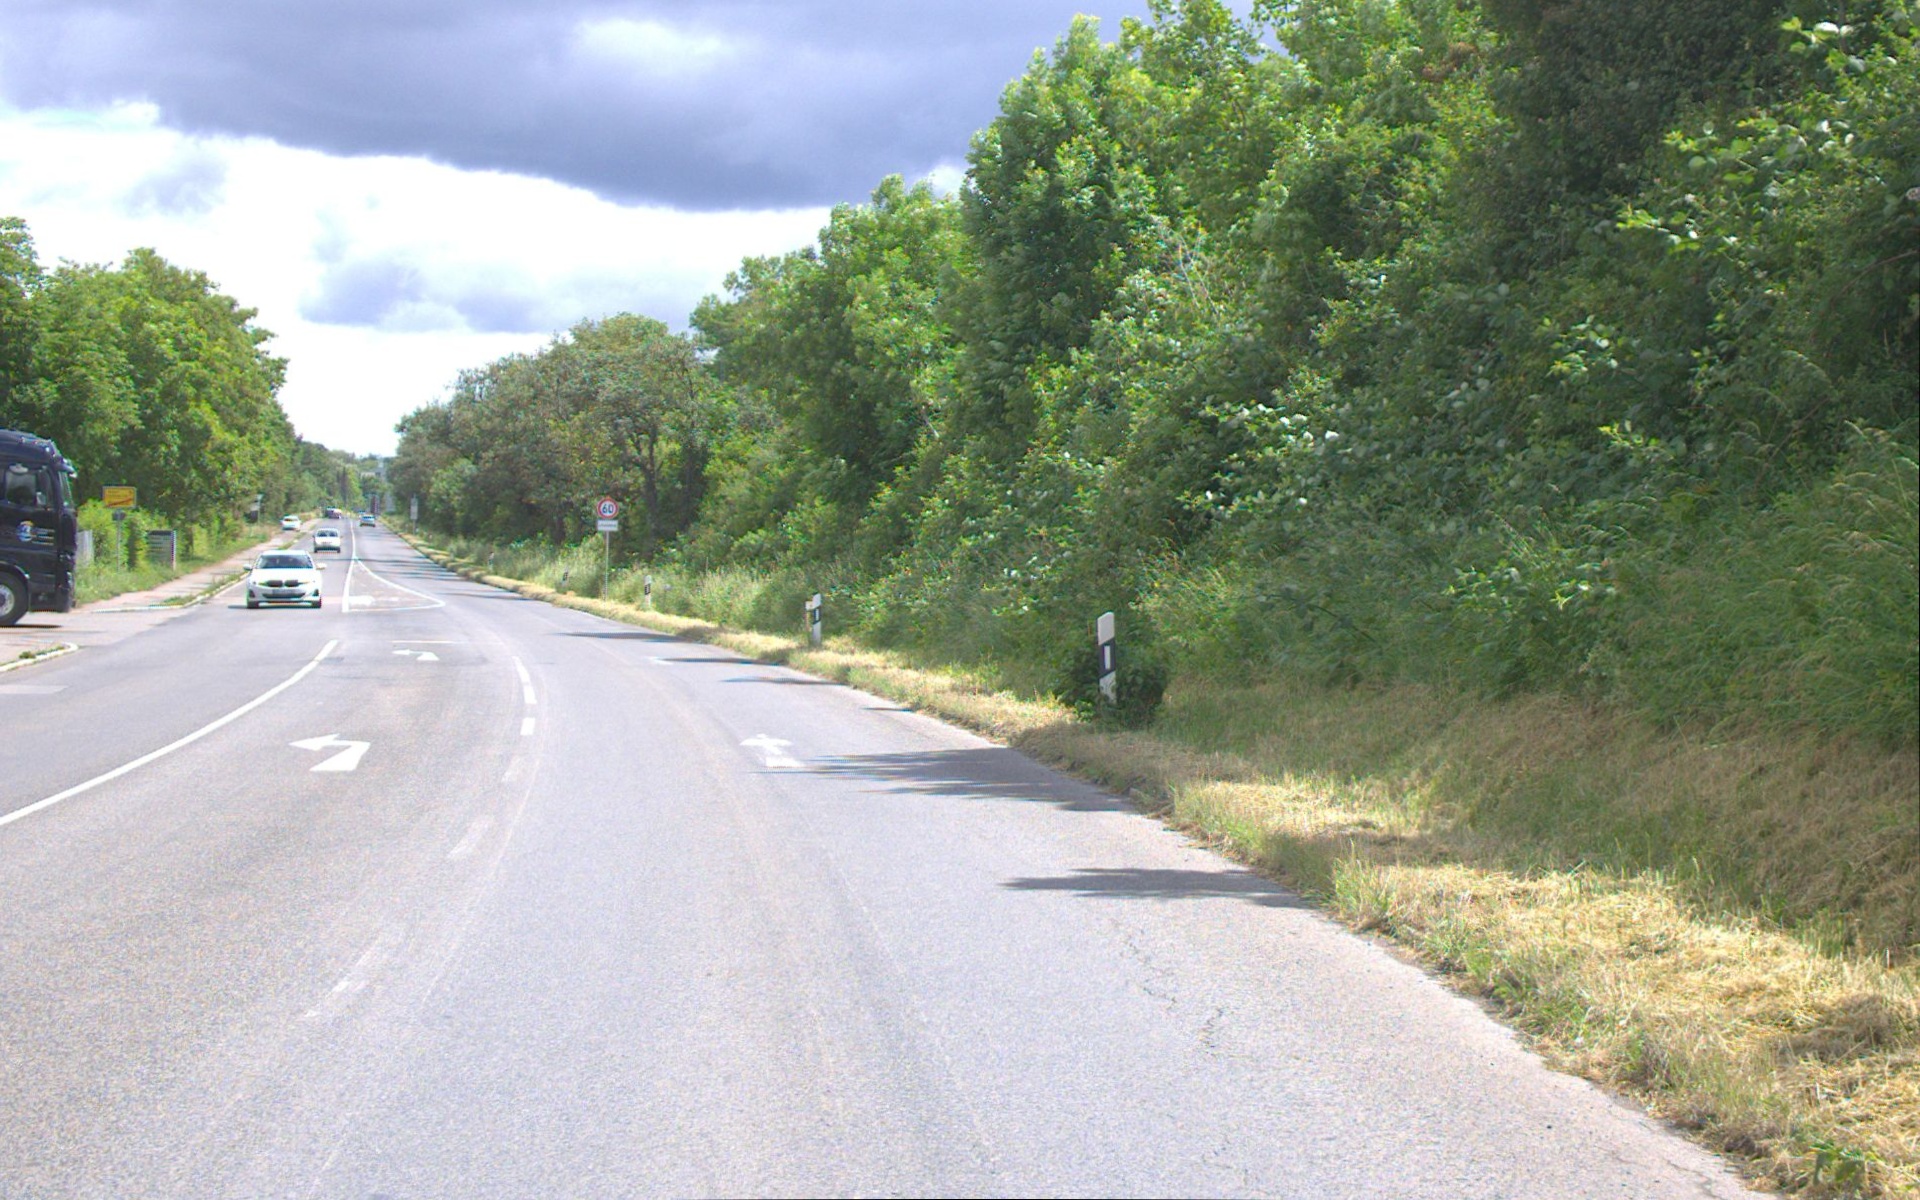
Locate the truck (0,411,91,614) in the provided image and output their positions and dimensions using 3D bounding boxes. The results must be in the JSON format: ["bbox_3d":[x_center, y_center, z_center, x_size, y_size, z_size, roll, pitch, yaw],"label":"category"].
[{"bbox_3d":[-19.571,-1.682,66.007,5.552,3.810,2.985,1,0,-14],"label":"truck"}]

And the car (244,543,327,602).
[{"bbox_3d":[-17.038,-0.710,86.745,1.993,1.445,4.428,-1,1,-11],"label":"car"}]

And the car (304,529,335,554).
[{"bbox_3d":[-38.575,-3.543,207.159,1.660,1.427,3.694,0,2,-8],"label":"car"}]
